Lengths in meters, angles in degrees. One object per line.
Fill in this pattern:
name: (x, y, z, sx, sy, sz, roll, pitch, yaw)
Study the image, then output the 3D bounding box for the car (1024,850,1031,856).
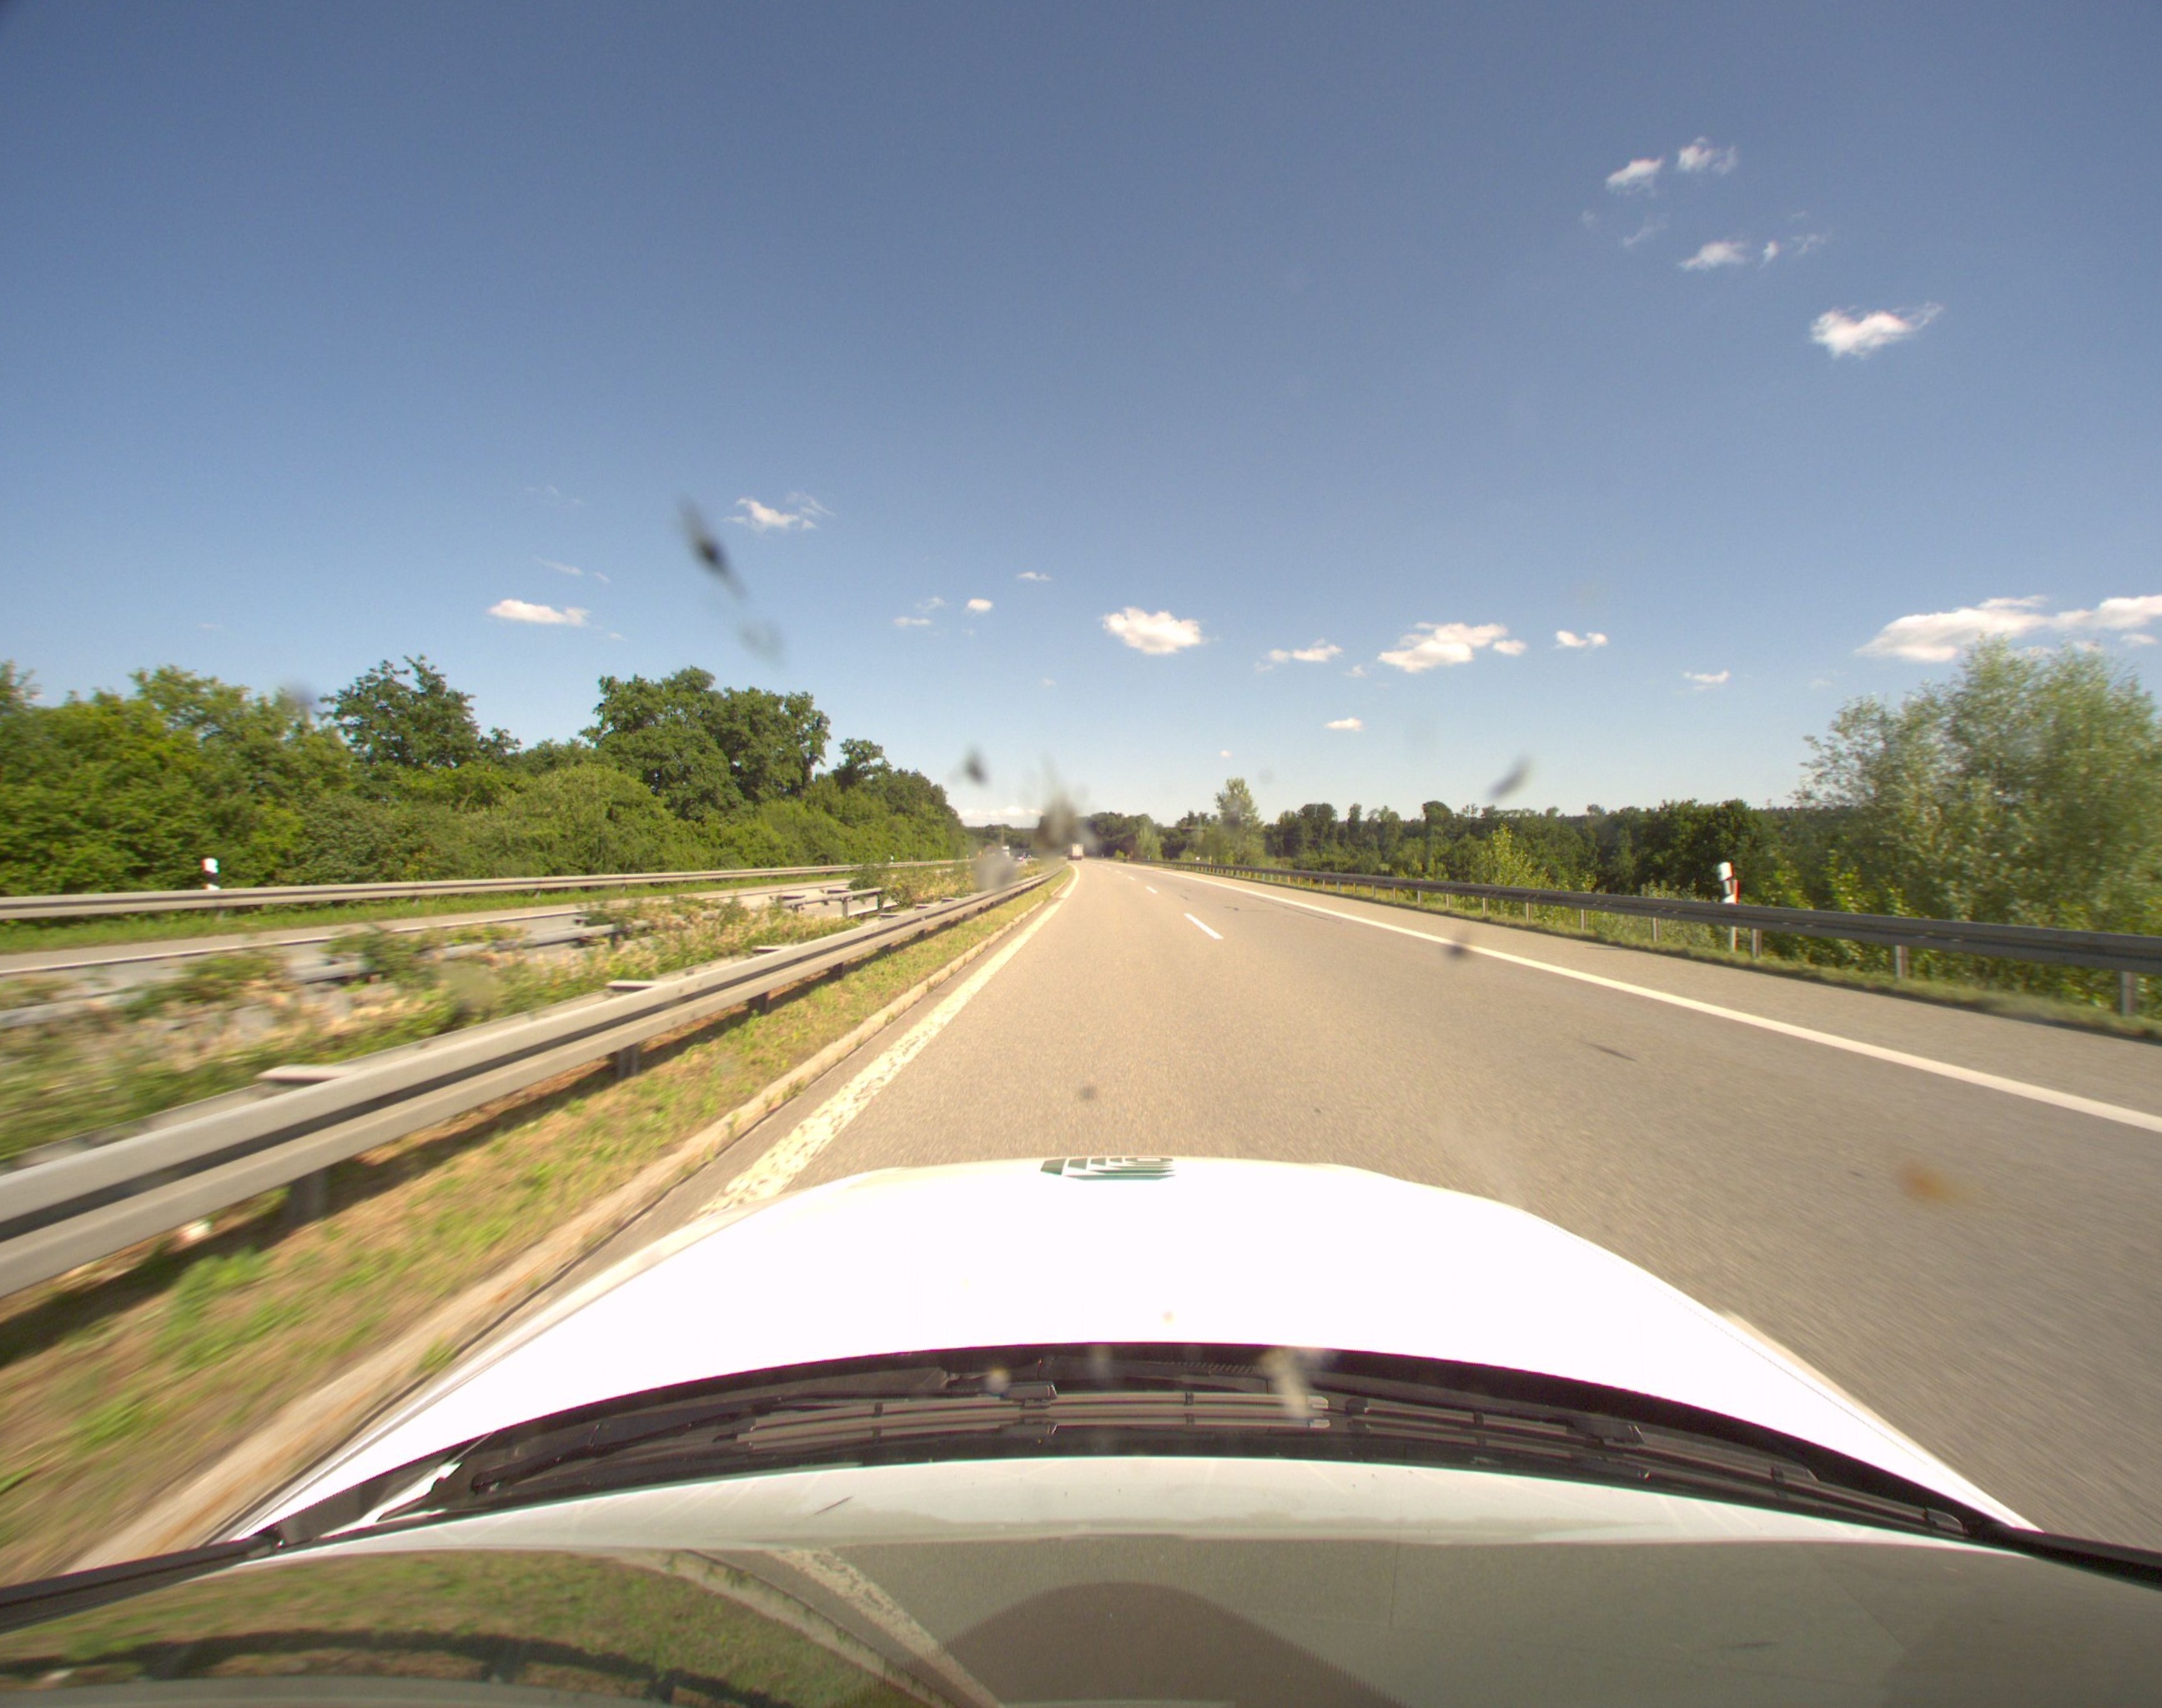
car: (-15.291, -0.267, 232.528, 1.729, 1.428, 3.867, -1, 0, -11)

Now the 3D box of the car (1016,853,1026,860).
car: (-11.873, 0.478, 161.495, 1.990, 1.432, 4.479, -1, 0, -5)

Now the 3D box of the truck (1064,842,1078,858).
truck: (-2.589, -0.967, 209.227, 2.830, 4.012, 6.566, -1, 0, -9)

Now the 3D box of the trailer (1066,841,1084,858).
trailer: (-1.588, -1.138, 202.576, 2.883, 4.066, 12.384, -1, 1, -8)
